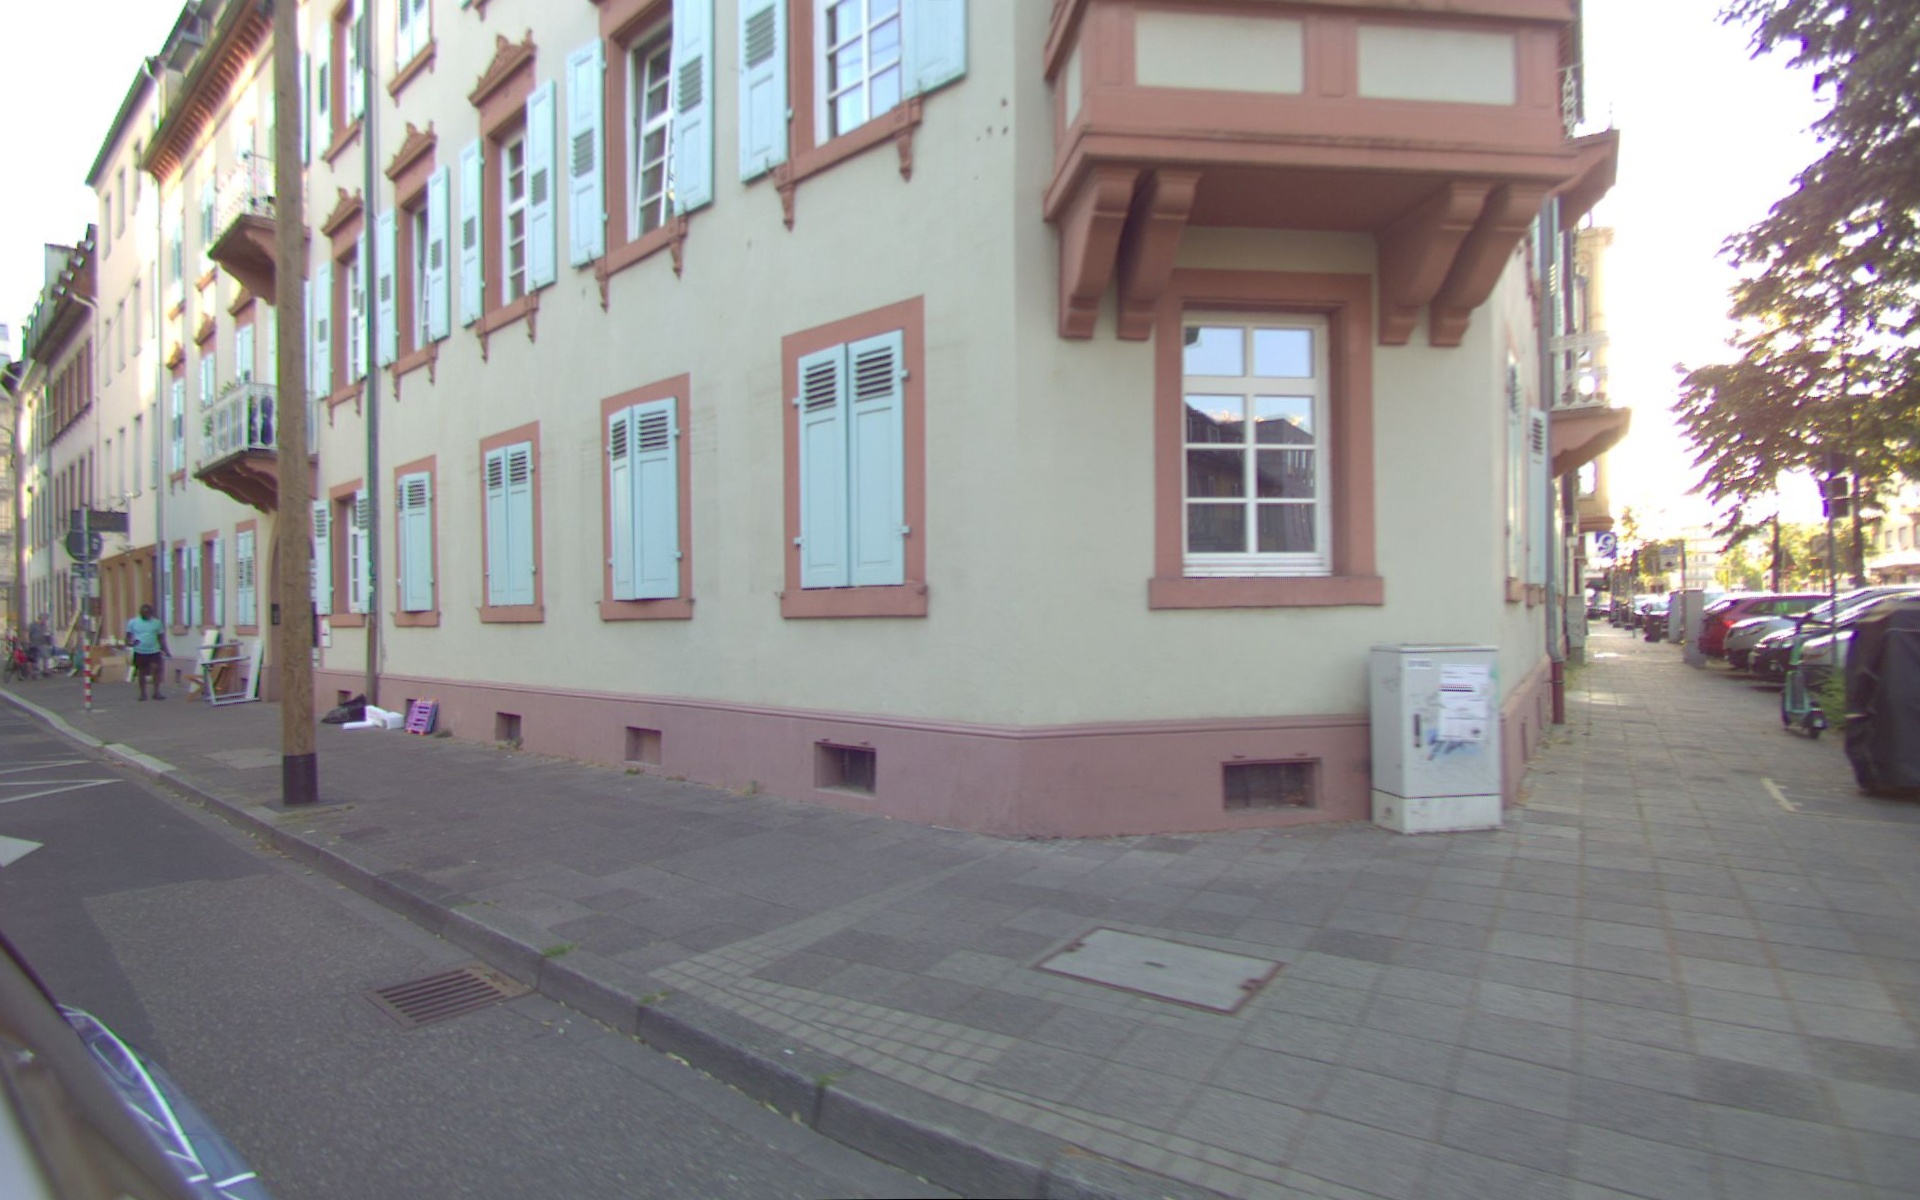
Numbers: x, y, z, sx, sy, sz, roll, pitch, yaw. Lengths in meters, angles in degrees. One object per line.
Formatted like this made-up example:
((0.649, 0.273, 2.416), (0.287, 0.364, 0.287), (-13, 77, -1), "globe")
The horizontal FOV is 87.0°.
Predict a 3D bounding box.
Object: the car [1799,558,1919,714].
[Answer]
((12.696, 0.424, 12.210), (3.816, 1.863, 1.679), (-1, -1, 37), "car")

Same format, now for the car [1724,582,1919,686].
((14.894, 0.538, 16.504), (3.830, 1.597, 1.720), (0, -1, 36), "car")

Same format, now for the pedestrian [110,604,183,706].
((-14.306, 0.952, 17.806), (0.649, 1.709, 0.815), (-2, 1, 41), "pedestrian")

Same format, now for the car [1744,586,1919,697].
((13.600, 0.569, 14.544), (3.657, 1.526, 1.628), (-1, -1, 38), "car")

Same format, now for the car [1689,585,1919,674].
((16.215, 0.539, 18.739), (4.204, 1.528, 1.744), (-1, -1, 30), "car")

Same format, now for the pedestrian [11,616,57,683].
((-24.413, 1.291, 26.675), (0.649, 1.709, 0.815), (-2, -1, 41), "pedestrian")

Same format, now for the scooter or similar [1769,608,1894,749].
((8.226, 0.696, 9.606), (0.676, 1.231, 1.379), (-2, -1, 33), "scooter or similar")

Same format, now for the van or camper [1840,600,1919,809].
((6.587, 0.647, 6.750), (0.942, 1.269, 1.822), (0, -1, 37), "van or camper")

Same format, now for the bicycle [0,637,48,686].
((-23.990, 1.551, 25.734), (0.649, 1.179, 1.613), (-1, -1, -22), "bicycle")
